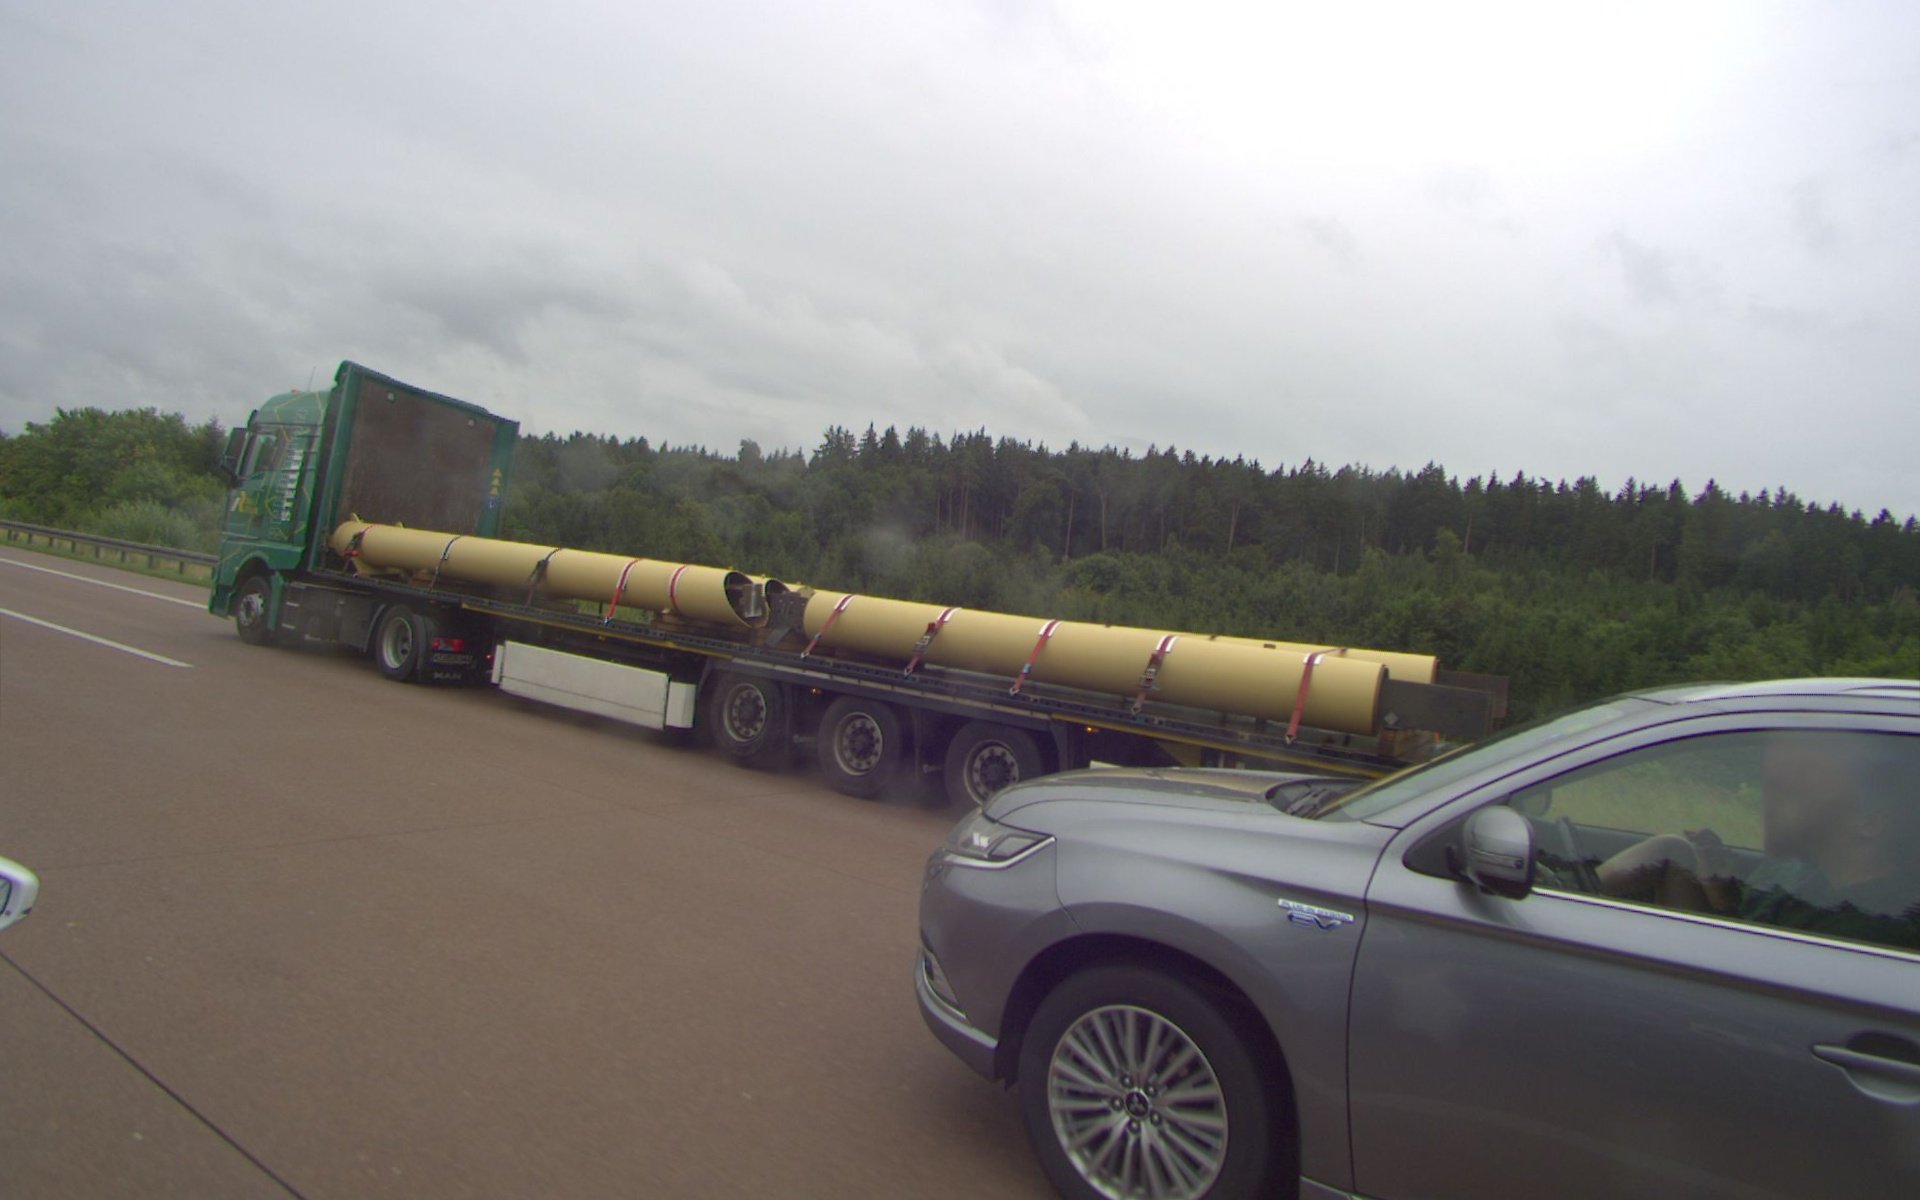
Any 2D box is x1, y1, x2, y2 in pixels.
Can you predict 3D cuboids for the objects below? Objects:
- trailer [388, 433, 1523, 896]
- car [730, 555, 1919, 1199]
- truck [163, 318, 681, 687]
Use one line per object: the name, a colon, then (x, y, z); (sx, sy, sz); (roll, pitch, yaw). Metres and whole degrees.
trailer: (-0.966, 0.073, 9.991); (11.209, 2.706, 2.887); (5, -2, 31)
car: (2.272, 0.979, 2.584); (5.725, 1.611, 1.997); (5, -3, 32)
truck: (-7.657, -1.243, 14.082); (6.872, 4.010, 2.903); (5, -2, 31)
